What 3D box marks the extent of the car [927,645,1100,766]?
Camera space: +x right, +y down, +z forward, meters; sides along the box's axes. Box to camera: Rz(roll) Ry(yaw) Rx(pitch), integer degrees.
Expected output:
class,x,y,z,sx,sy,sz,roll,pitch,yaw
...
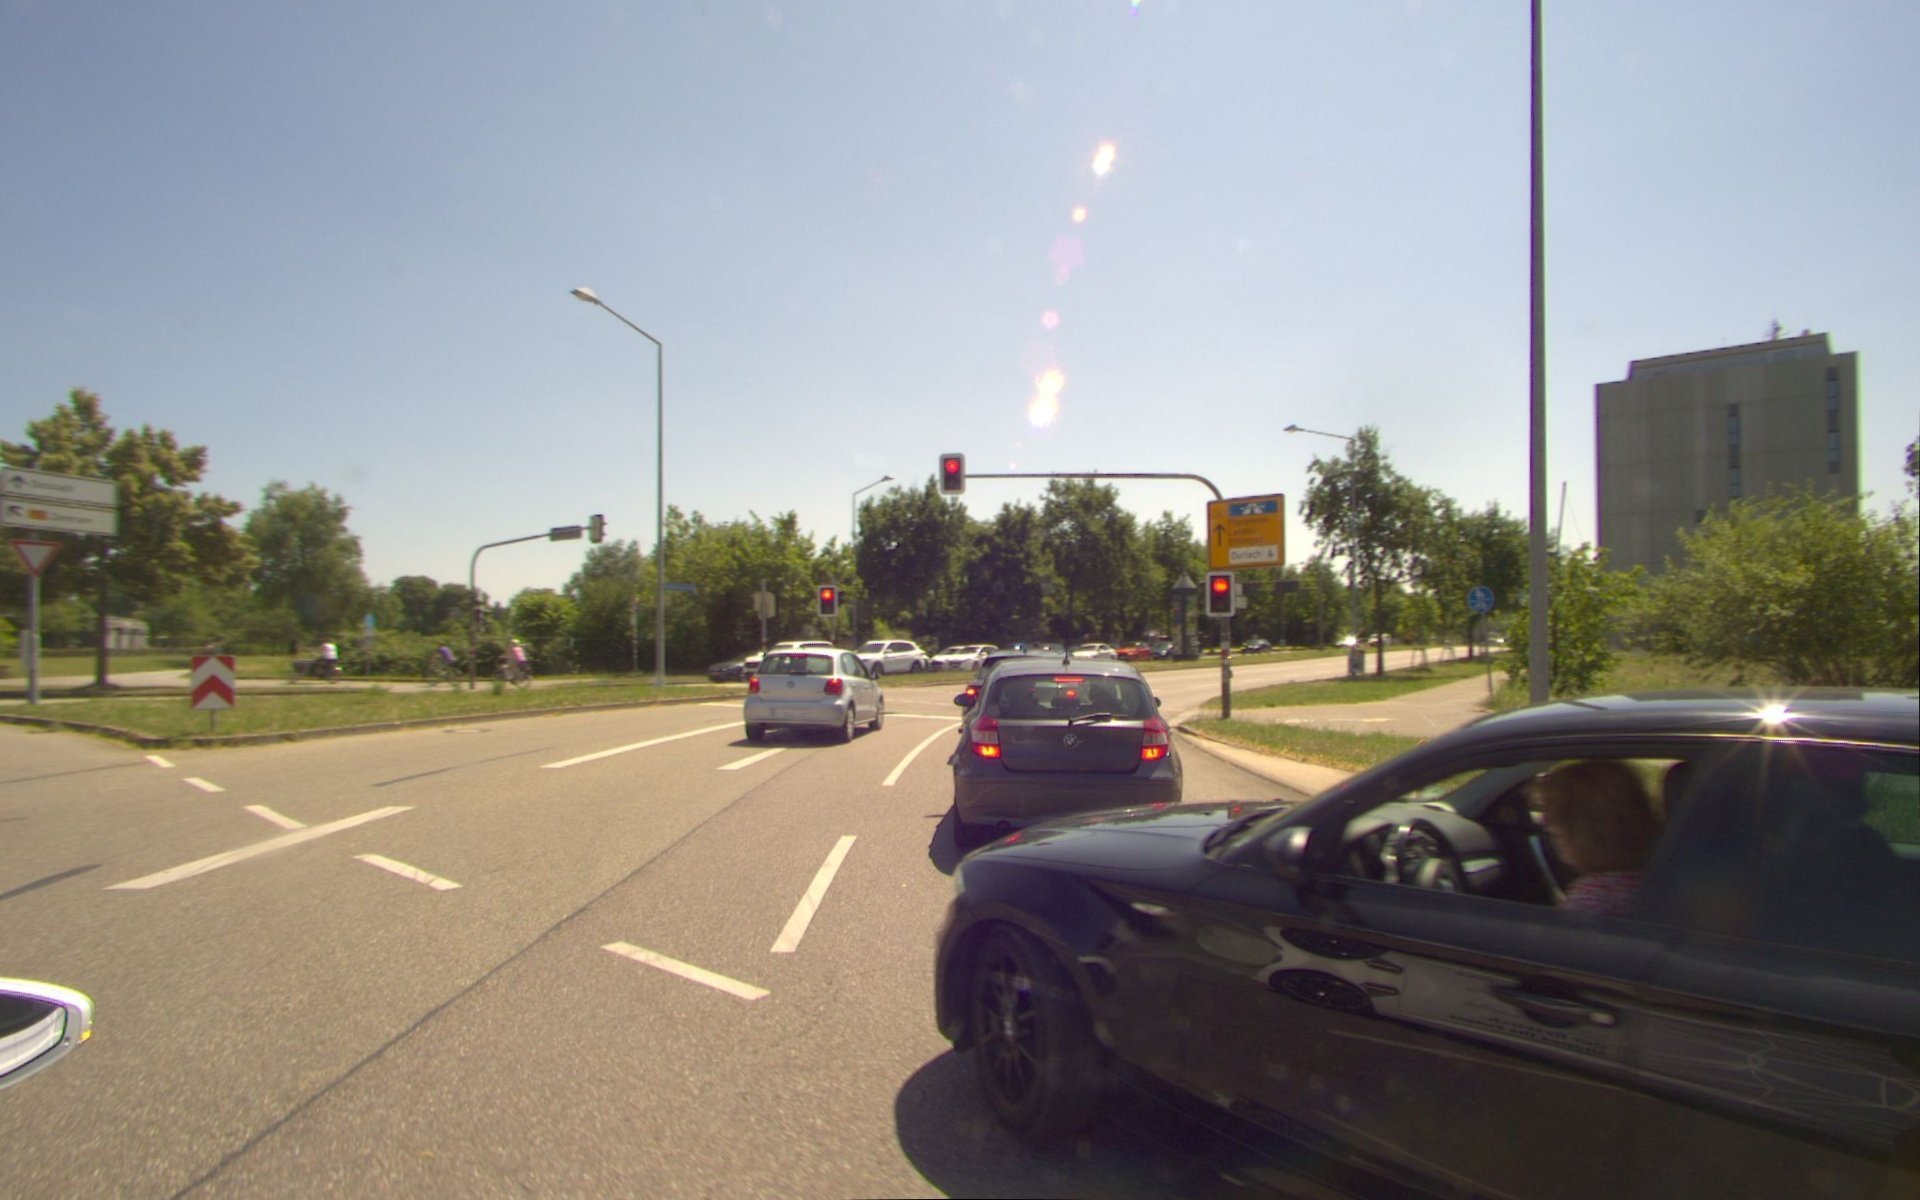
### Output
class,x,y,z,sx,sy,sz,roll,pitch,yaw
car,0.961,1.406,14.700,1.962,1.436,4.455,0,-2,11

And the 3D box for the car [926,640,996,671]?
class,x,y,z,sx,sy,sz,roll,pitch,yaw
car,0.107,3.126,56.916,1.840,1.704,4.383,-1,-3,35

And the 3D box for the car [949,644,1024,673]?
class,x,y,z,sx,sy,sz,roll,pitch,yaw
car,1.440,3.067,52.782,1.840,1.440,4.383,-1,-3,35

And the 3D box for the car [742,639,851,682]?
class,x,y,z,sx,sy,sz,roll,pitch,yaw
car,-6.585,2.416,40.745,1.840,1.638,4.383,-1,-3,35

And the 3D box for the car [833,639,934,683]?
class,x,y,z,sx,sy,sz,roll,pitch,yaw
car,-3.098,2.474,41.315,1.840,1.704,4.383,-1,-3,35

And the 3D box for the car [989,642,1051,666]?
class,x,y,z,sx,sy,sz,roll,pitch,yaw
car,3.747,3.327,61.871,1.840,1.440,4.383,-1,-3,35

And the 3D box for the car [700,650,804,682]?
class,x,y,z,sx,sy,sz,roll,pitch,yaw
car,-8.994,2.843,43.611,1.840,1.286,4.383,-1,-3,35

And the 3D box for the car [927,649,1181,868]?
class,x,y,z,sx,sy,sz,roll,pitch,yaw
car,0.707,1.179,8.894,1.719,1.421,4.083,1,-2,2

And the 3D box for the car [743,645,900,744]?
class,x,y,z,sx,sy,sz,roll,pitch,yaw
car,-2.201,1.501,17.020,1.747,1.440,4.002,0,-2,6

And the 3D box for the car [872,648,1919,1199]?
class,x,y,z,sx,sy,sz,roll,pitch,yaw
car,1.640,0.880,2.576,1.783,1.458,3.967,3,-3,-40
